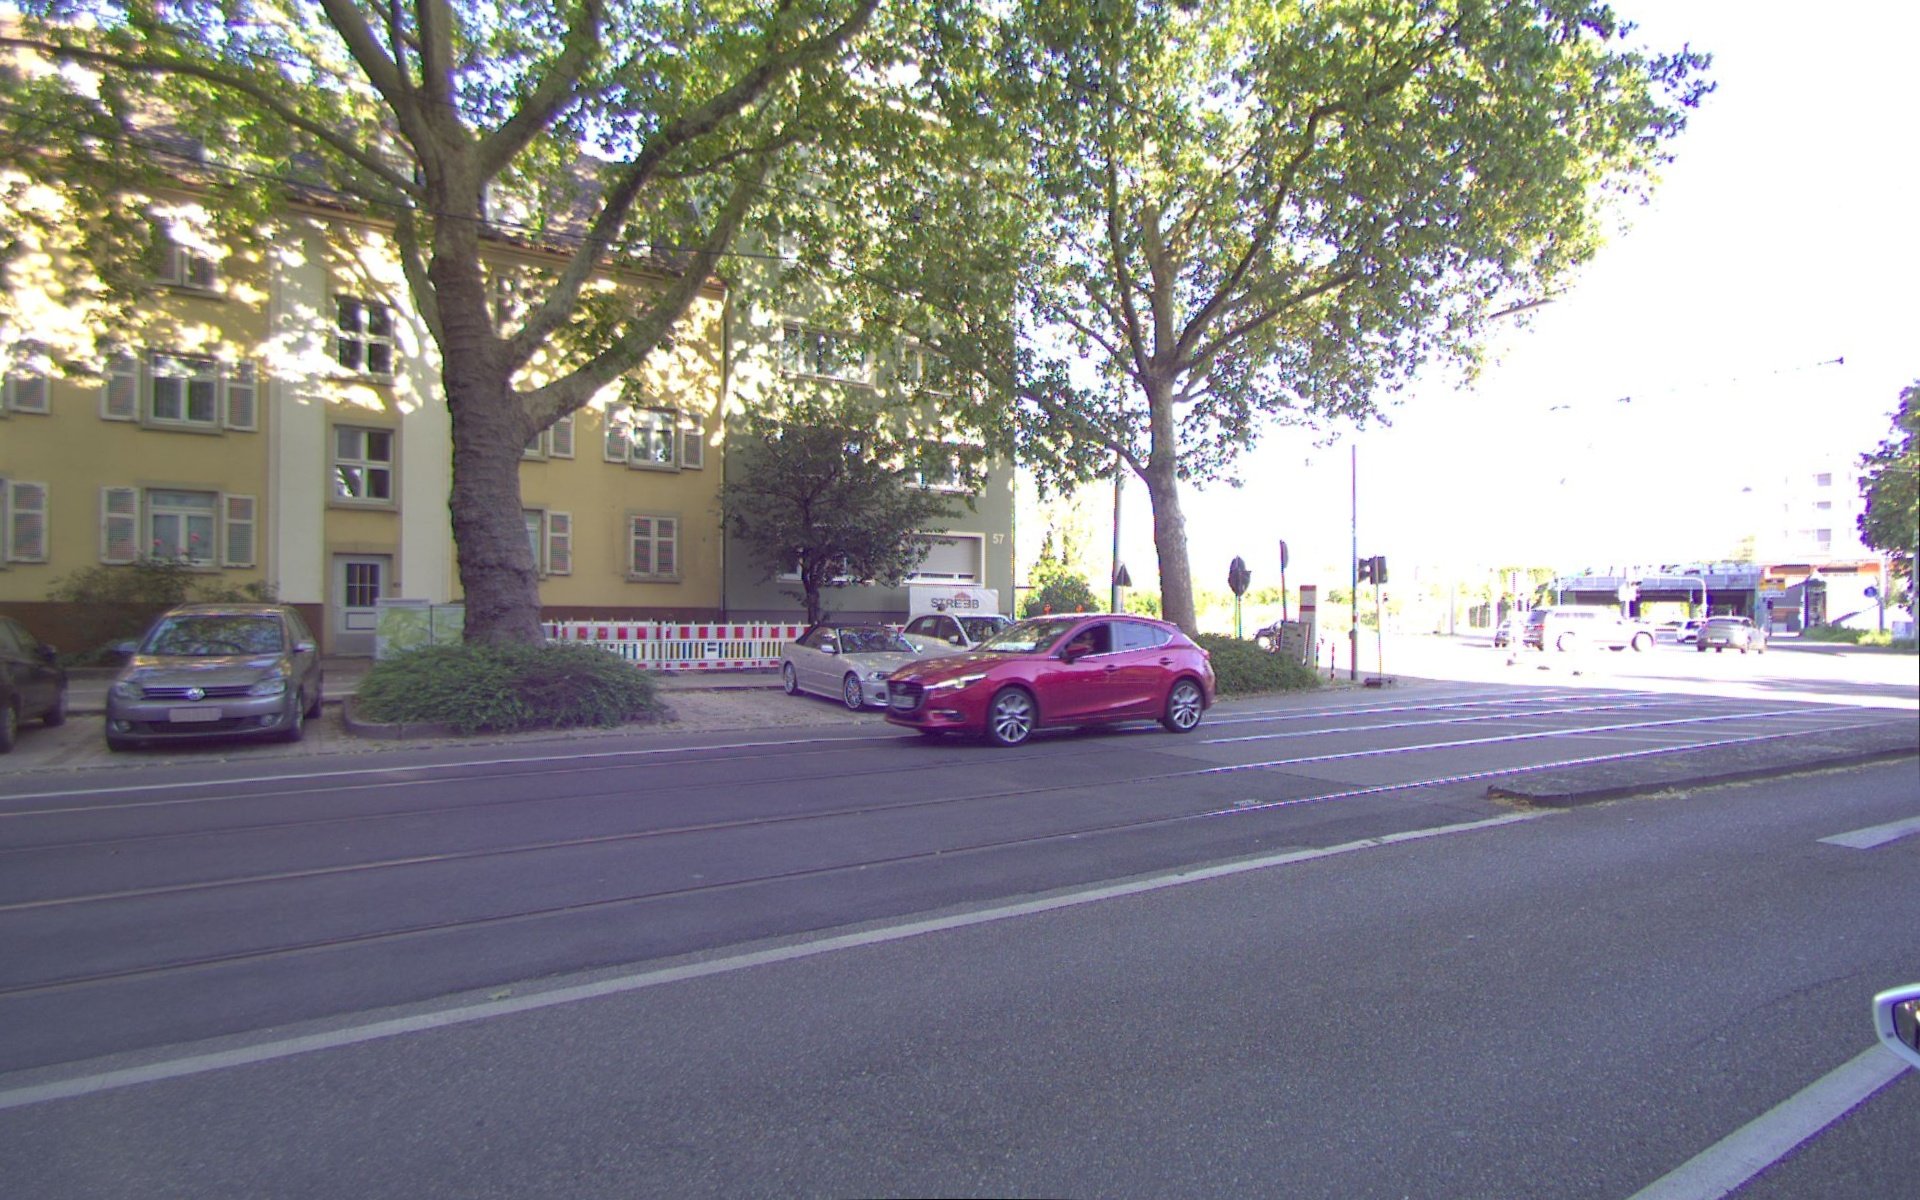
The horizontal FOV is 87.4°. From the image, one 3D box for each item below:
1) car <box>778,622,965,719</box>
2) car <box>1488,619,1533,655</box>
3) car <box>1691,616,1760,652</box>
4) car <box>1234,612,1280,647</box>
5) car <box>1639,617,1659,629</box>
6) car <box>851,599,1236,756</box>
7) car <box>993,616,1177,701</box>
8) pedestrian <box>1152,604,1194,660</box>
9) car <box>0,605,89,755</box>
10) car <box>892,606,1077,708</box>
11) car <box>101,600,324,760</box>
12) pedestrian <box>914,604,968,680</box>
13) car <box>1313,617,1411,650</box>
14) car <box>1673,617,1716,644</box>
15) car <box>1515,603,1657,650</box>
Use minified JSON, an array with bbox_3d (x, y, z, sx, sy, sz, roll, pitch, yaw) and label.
[{"bbox_3d":[-1.649,1.111,17.312,1.651,1.370,3.949,1,0,-31],"label":"car"},{"bbox_3d":[28.950,1.903,52.772,1.953,1.788,4.351,0,-1,31],"label":"car"},{"bbox_3d":[35.188,1.568,46.138,4.176,1.539,1.781,2,0,-43],"label":"car"},{"bbox_3d":[15.317,1.488,51.770,1.574,1.723,3.636,0,-1,28],"label":"car"},{"bbox_3d":[74.299,2.485,108.300,1.555,1.277,3.421,0,-1,30],"label":"car"},{"bbox_3d":[1.101,0.819,12.280,4.445,1.586,2.004,1,-1,-34],"label":"car"},{"bbox_3d":[2.441,1.112,20.532,1.651,1.473,3.949,1,0,-31],"label":"car"},{"bbox_3d":[6.573,0.984,30.996,0.919,1.669,0.841,2,0,-30],"label":"pedestrian"},{"bbox_3d":[-11.465,0.834,11.388,1.652,1.518,3.778,1,0,-29],"label":"car"},{"bbox_3d":[0.350,0.985,19.157,1.651,1.669,3.949,1,0,-31],"label":"car"},{"bbox_3d":[-8.999,0.834,12.419,1.652,1.602,3.953,1,0,-29],"label":"car"},{"bbox_3d":[-0.431,0.943,22.915,0.946,1.683,0.767,2,0,-34],"label":"pedestrian"},{"bbox_3d":[19.763,1.617,49.476,4.176,1.575,1.711,0,-1,7],"label":"car"},{"bbox_3d":[46.695,1.928,63.945,1.964,1.572,4.185,2,0,33],"label":"car"},{"bbox_3d":[26.208,1.116,42.182,4.749,1.907,1.915,0,-1,2],"label":"car"}]
